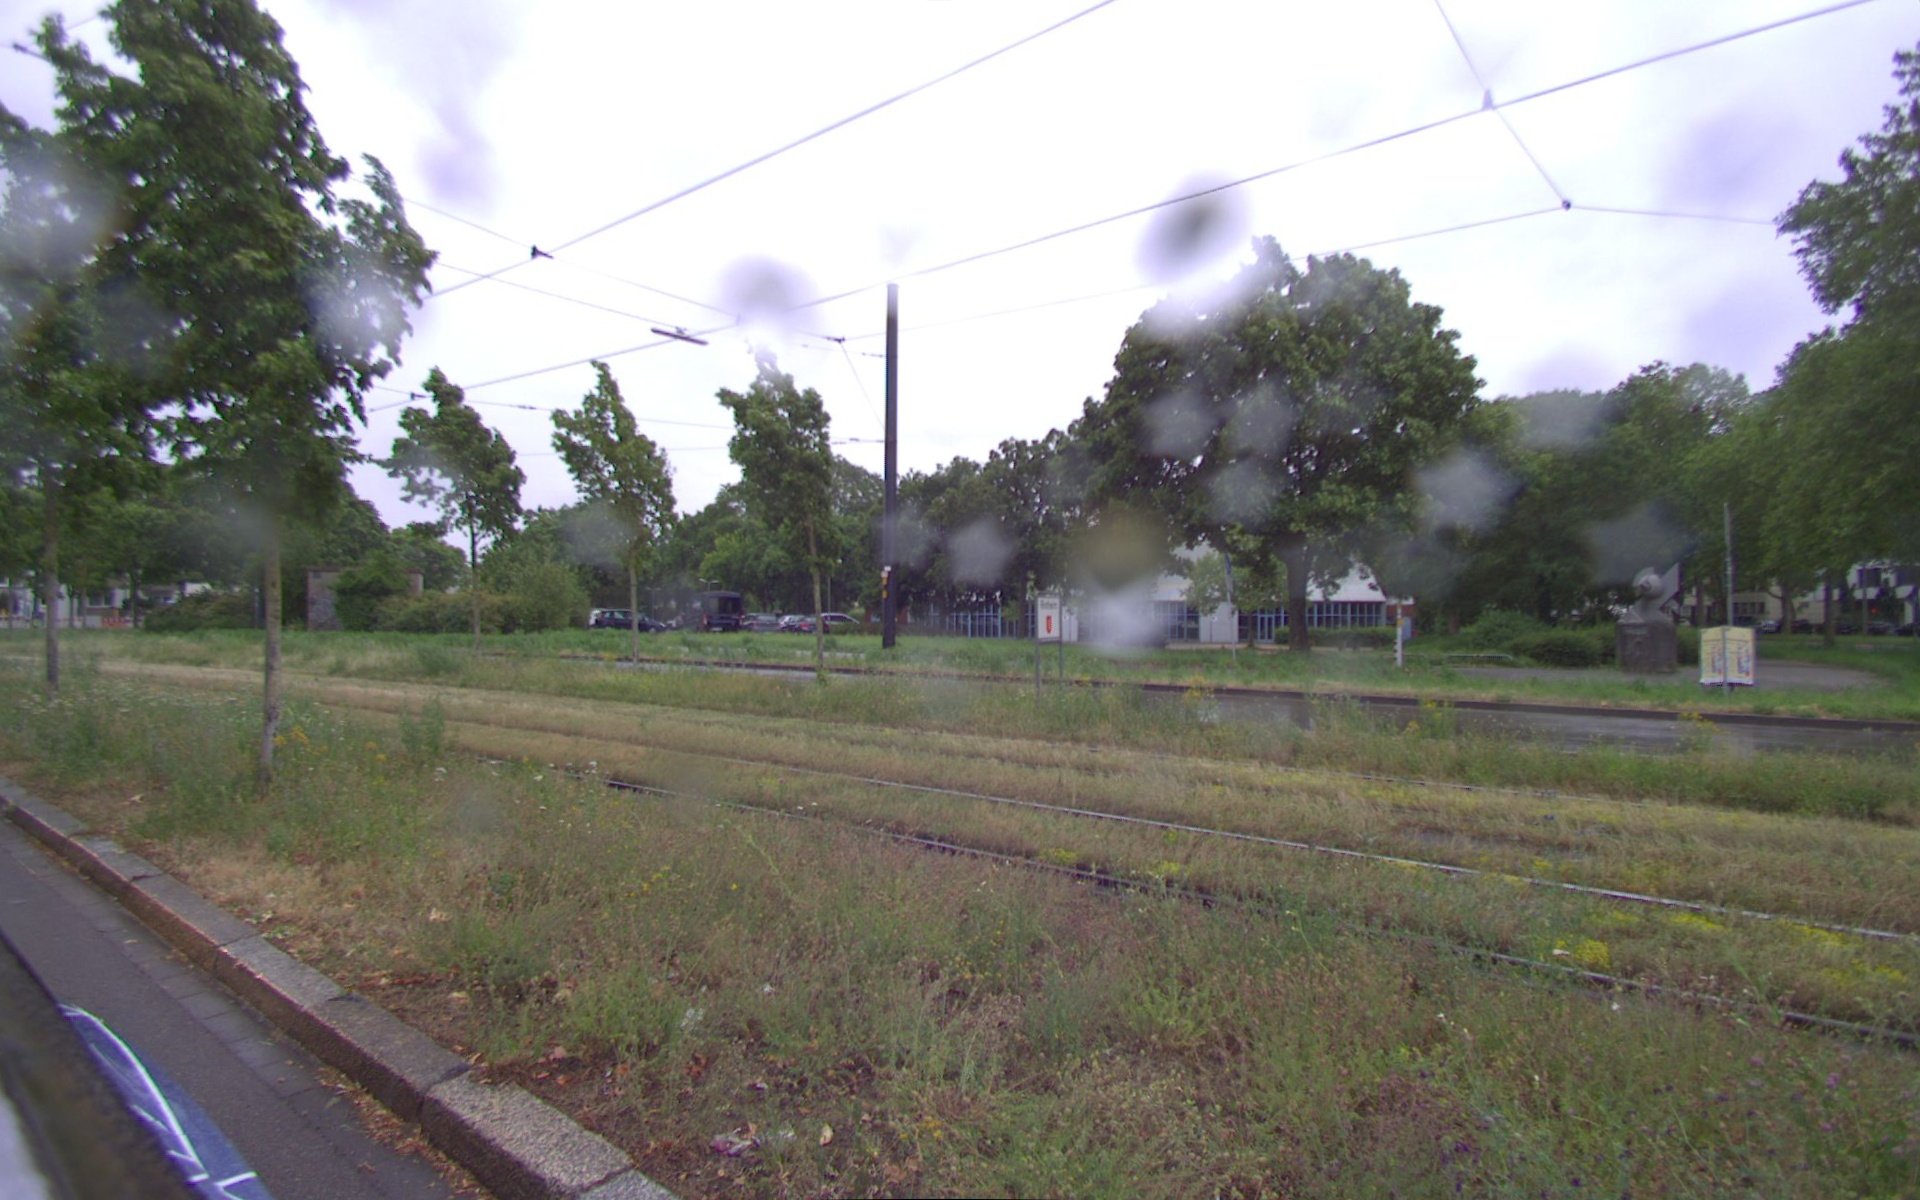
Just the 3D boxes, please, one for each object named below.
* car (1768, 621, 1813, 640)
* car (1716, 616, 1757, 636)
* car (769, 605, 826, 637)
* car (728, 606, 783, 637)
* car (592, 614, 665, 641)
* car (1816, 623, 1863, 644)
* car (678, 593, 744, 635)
[{"bbox_3d":[82.979,3.033,101.148,1.982,1.796,3.979,-1,0,16],"label":"car"},{"bbox_3d":[86.354,2.842,112.555,2.108,2.104,3.982,-1,0,14],"label":"car"},{"bbox_3d":[-8.791,1.102,54.370,2.026,1.584,5.032,-1,0,-21],"label":"car"},{"bbox_3d":[-10.915,1.101,53.703,1.726,1.542,4.865,-1,0,-25],"label":"car"},{"bbox_3d":[-20.285,1.650,61.868,4.110,1.494,1.789,-1,0,-23],"label":"car"},{"bbox_3d":[81.658,3.112,94.050,1.986,1.796,3.972,-1,0,21],"label":"car"},{"bbox_3d":[-12.832,0.708,51.930,2.273,2.029,5.134,-1,0,-25],"label":"car"}]
